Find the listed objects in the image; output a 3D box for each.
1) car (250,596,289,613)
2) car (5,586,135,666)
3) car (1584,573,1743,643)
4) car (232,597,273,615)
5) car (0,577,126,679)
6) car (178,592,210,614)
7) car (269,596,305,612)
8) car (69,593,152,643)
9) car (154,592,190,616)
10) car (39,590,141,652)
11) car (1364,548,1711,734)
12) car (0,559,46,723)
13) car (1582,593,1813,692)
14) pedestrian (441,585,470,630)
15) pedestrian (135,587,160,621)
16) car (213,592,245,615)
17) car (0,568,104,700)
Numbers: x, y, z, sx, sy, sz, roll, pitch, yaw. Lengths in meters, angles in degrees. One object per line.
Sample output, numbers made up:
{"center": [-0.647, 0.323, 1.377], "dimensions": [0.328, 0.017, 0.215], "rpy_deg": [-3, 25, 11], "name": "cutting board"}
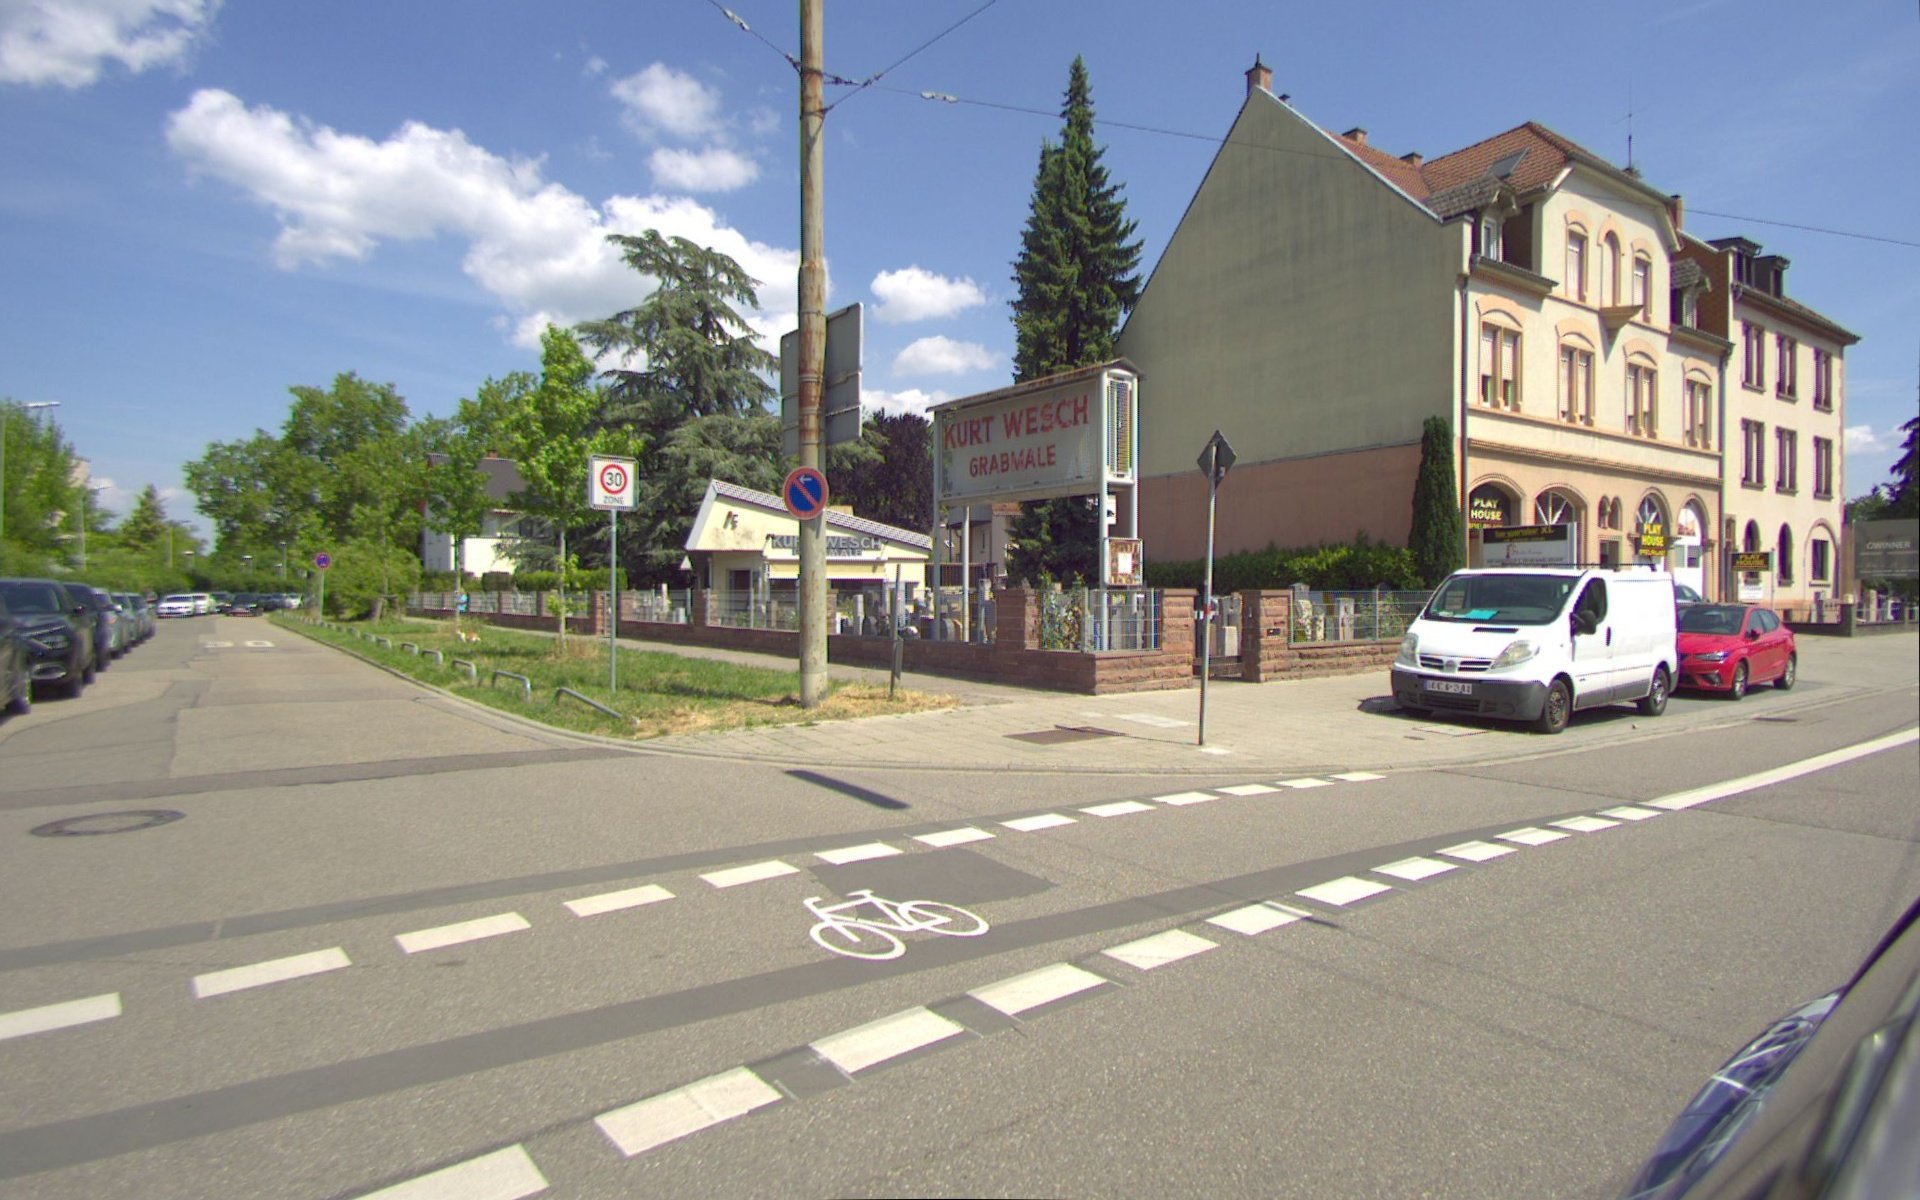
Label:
{"center": [-60.535, 0.374, 88.759], "dimensions": [1.721, 1.462, 4.008], "rpy_deg": [-1, 0, -18], "name": "car"}
{"center": [-18.669, 0.488, 21.393], "dimensions": [1.726, 1.519, 3.998], "rpy_deg": [-1, 0, -37], "name": "car"}
{"center": [18.463, 0.158, 26.506], "dimensions": [4.550, 1.644, 1.885], "rpy_deg": [0, 3, -34], "name": "car"}
{"center": [-59.137, 0.450, 84.680], "dimensions": [1.721, 1.462, 4.008], "rpy_deg": [-1, 0, -18], "name": "car"}
{"center": [-16.111, 0.451, 18.026], "dimensions": [1.726, 1.626, 3.998], "rpy_deg": [-1, 0, -37], "name": "car"}
{"center": [-53.254, 0.216, 70.433], "dimensions": [1.726, 1.462, 3.998], "rpy_deg": [-1, 0, -37], "name": "car"}
{"center": [-61.871, 0.373, 93.070], "dimensions": [1.721, 1.462, 4.008], "rpy_deg": [-1, 0, -18], "name": "car"}
{"center": [-26.454, 0.524, 31.621], "dimensions": [1.726, 1.462, 3.998], "rpy_deg": [-1, 0, -37], "name": "car"}
{"center": [-50.105, 0.228, 64.406], "dimensions": [1.726, 1.462, 3.998], "rpy_deg": [-1, 0, -37], "name": "car"}
{"center": [-22.558, 0.496, 26.371], "dimensions": [1.726, 1.462, 3.998], "rpy_deg": [-1, 0, -37], "name": "car"}
{"center": [7.799, 0.406, 13.425], "dimensions": [5.412, 2.016, 2.000], "rpy_deg": [0, 2, -37], "name": "car"}
{"center": [-10.014, 0.369, 9.533], "dimensions": [1.726, 1.469, 3.610], "rpy_deg": [0, 0, -37], "name": "car"}
{"center": [12.345, 0.640, 16.877], "dimensions": [3.941, 1.460, 1.999], "rpy_deg": [0, -1, -36], "name": "car"}
{"center": [-19.458, 0.298, 39.010], "dimensions": [0.776, 1.681, 1.000], "rpy_deg": [0, -3, -42], "name": "pedestrian"}
{"center": [-42.035, 0.226, 52.356], "dimensions": [0.984, 1.739, 0.789], "rpy_deg": [0, -2, -36], "name": "pedestrian"}
{"center": [-49.151, 0.228, 68.017], "dimensions": [1.726, 1.462, 3.998], "rpy_deg": [-1, 0, -37], "name": "car"}
{"center": [-12.560, 0.393, 13.304], "dimensions": [1.726, 1.543, 3.998], "rpy_deg": [0, 0, -37], "name": "car"}
